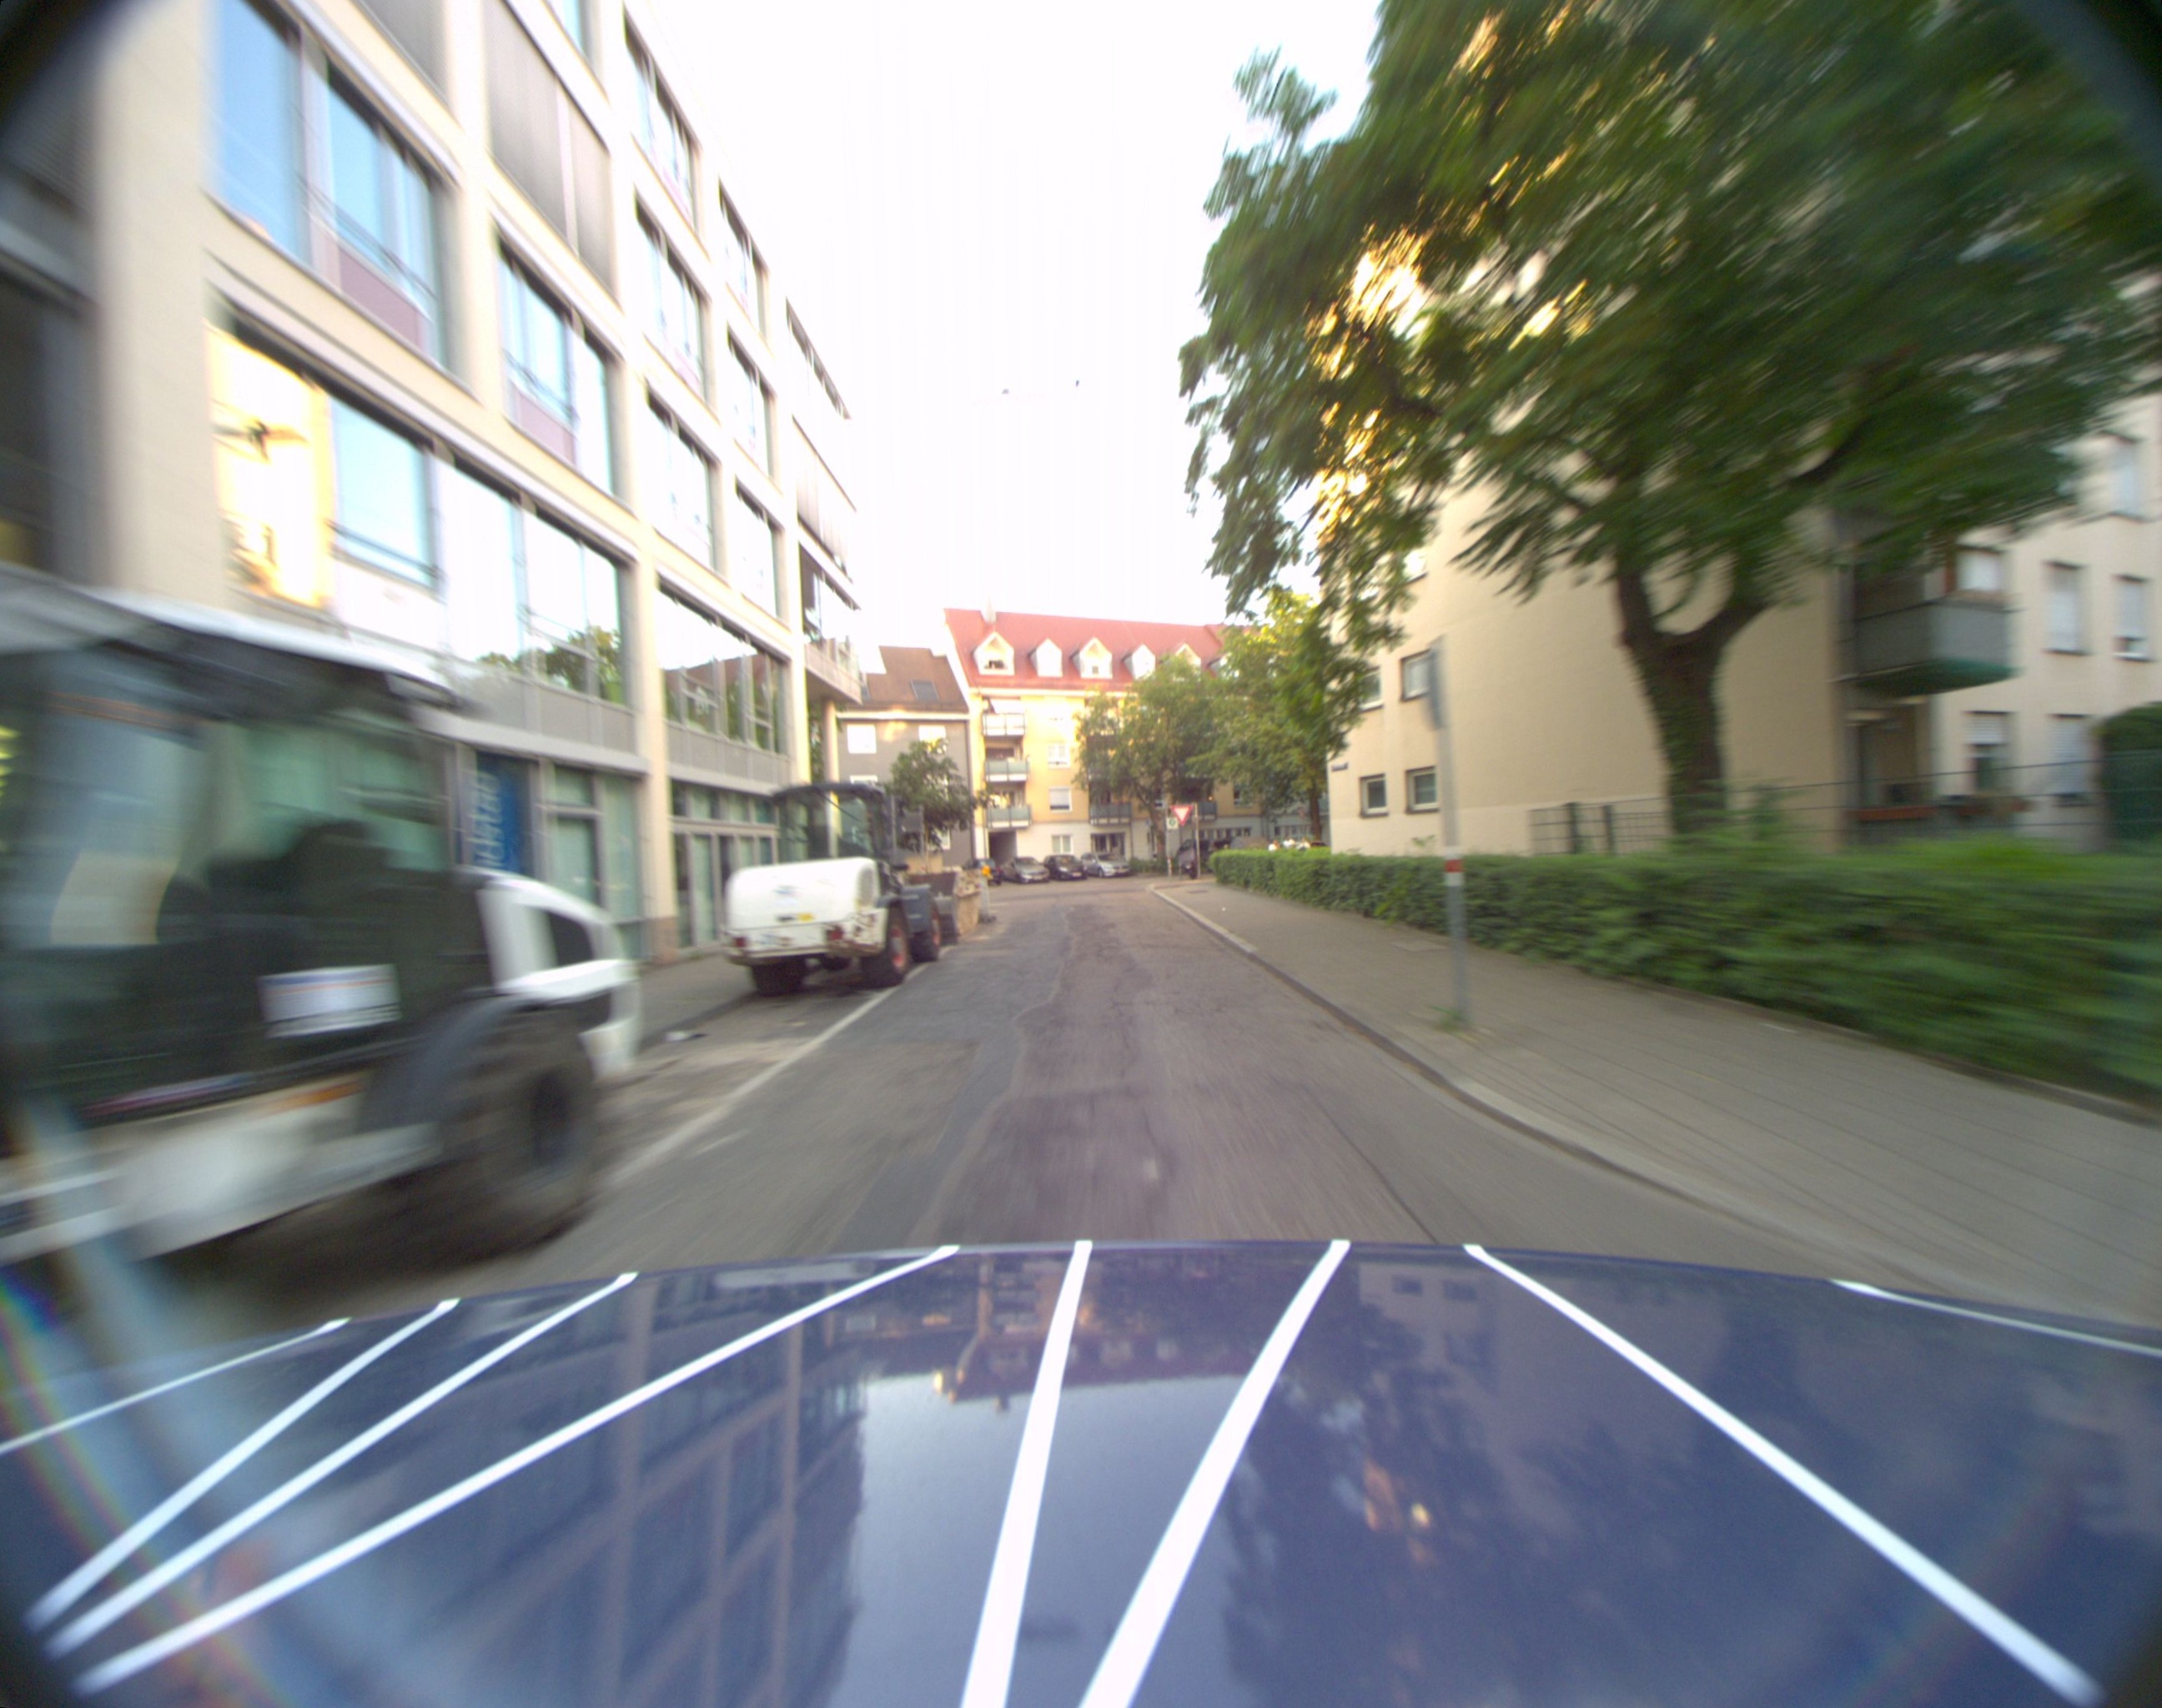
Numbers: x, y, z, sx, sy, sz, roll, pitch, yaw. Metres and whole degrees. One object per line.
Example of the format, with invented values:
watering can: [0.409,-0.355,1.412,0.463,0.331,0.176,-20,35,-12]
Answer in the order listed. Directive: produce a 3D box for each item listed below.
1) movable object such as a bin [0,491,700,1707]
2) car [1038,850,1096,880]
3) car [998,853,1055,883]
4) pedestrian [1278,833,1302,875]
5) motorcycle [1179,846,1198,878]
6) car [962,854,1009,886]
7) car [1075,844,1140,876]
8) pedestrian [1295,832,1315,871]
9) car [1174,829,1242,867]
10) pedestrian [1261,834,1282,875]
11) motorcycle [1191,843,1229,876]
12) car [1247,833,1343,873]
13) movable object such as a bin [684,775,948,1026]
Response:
movable object such as a bin: [-3.368,0.556,1.575,2.172,2.581,5.542,-3,1,1]
car: [-0.873,0.611,43.849,1.855,1.554,4.073,-3,0,-24]
car: [-3.161,0.792,43.113,1.874,1.499,4.286,-3,0,-23]
pedestrian: [9.110,0.003,33.123,0.666,1.778,0.698,-3,1,-17]
motorcycle: [4.783,0.336,33.710,0.722,1.366,2.225,-3,1,9]
car: [-5.286,0.822,41.765,1.747,1.517,3.354,-3,3,-21]
car: [1.492,0.349,44.807,1.838,1.694,4.802,-3,0,-23]
pedestrian: [9.355,-0.101,31.704,0.448,1.563,0.660,-3,2,-17]
car: [7.841,-0.437,47.239,2.038,2.122,4.624,-3,4,-22]
pedestrian: [8.376,0.036,33.418,0.697,1.778,0.530,-2,1,28]
motorcycle: [6.033,0.245,35.572,0.692,1.485,2.221,-3,1,-20]
car: [10.108,-0.009,36.302,2.056,1.571,4.507,-3,-1,-21]
movable object such as a bin: [-3.199,0.478,10.184,1.800,2.619,4.111,-2,1,3]
